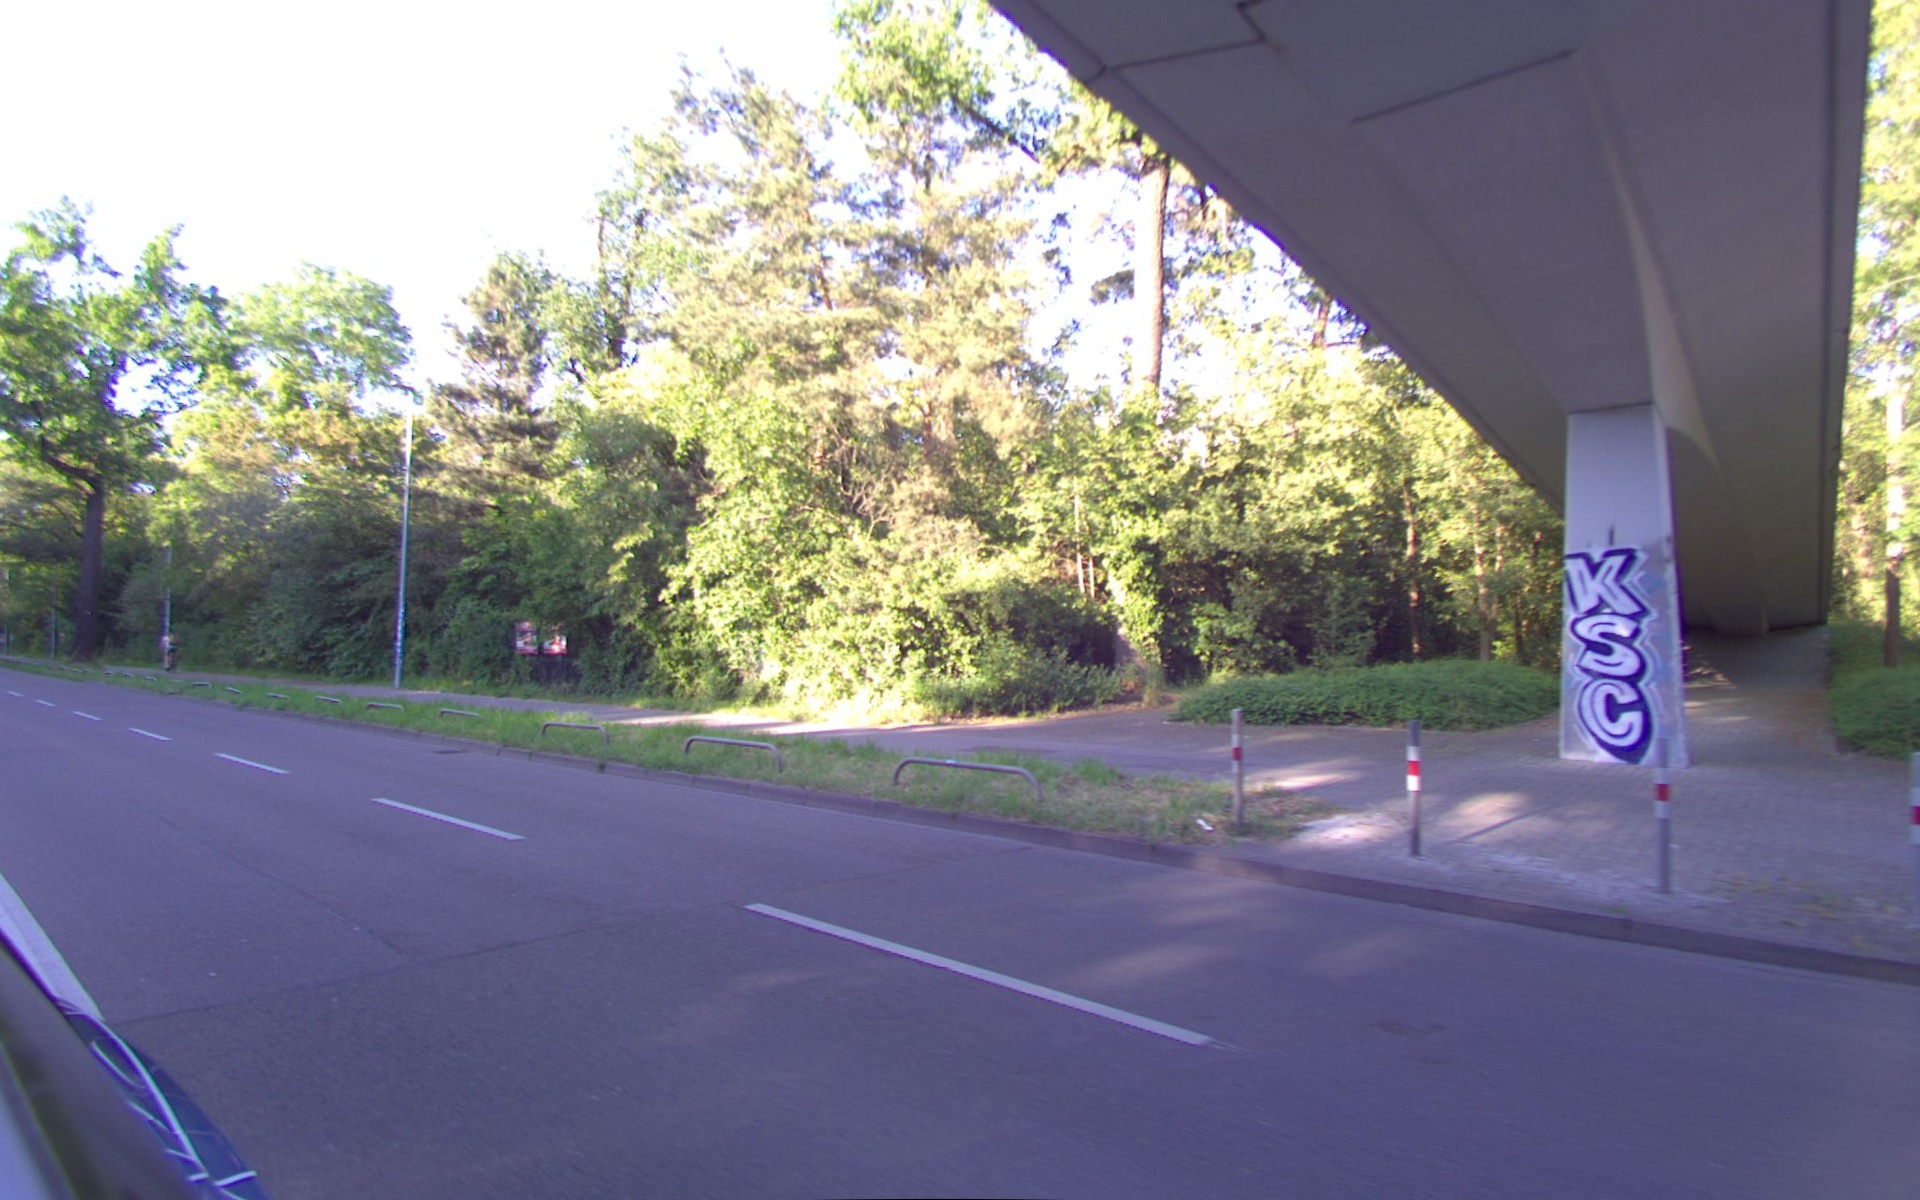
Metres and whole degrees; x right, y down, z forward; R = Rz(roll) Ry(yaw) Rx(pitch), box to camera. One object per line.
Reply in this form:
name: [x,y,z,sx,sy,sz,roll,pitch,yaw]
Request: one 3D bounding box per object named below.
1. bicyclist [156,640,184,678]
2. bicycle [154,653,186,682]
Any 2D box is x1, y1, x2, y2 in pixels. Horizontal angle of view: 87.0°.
bicyclist: [-33.368,2.473,42.745,1.142,1.570,0.705,-2,-1,41]
bicycle: [-33.360,2.837,42.739,1.992,1.156,0.705,-2,-1,41]
